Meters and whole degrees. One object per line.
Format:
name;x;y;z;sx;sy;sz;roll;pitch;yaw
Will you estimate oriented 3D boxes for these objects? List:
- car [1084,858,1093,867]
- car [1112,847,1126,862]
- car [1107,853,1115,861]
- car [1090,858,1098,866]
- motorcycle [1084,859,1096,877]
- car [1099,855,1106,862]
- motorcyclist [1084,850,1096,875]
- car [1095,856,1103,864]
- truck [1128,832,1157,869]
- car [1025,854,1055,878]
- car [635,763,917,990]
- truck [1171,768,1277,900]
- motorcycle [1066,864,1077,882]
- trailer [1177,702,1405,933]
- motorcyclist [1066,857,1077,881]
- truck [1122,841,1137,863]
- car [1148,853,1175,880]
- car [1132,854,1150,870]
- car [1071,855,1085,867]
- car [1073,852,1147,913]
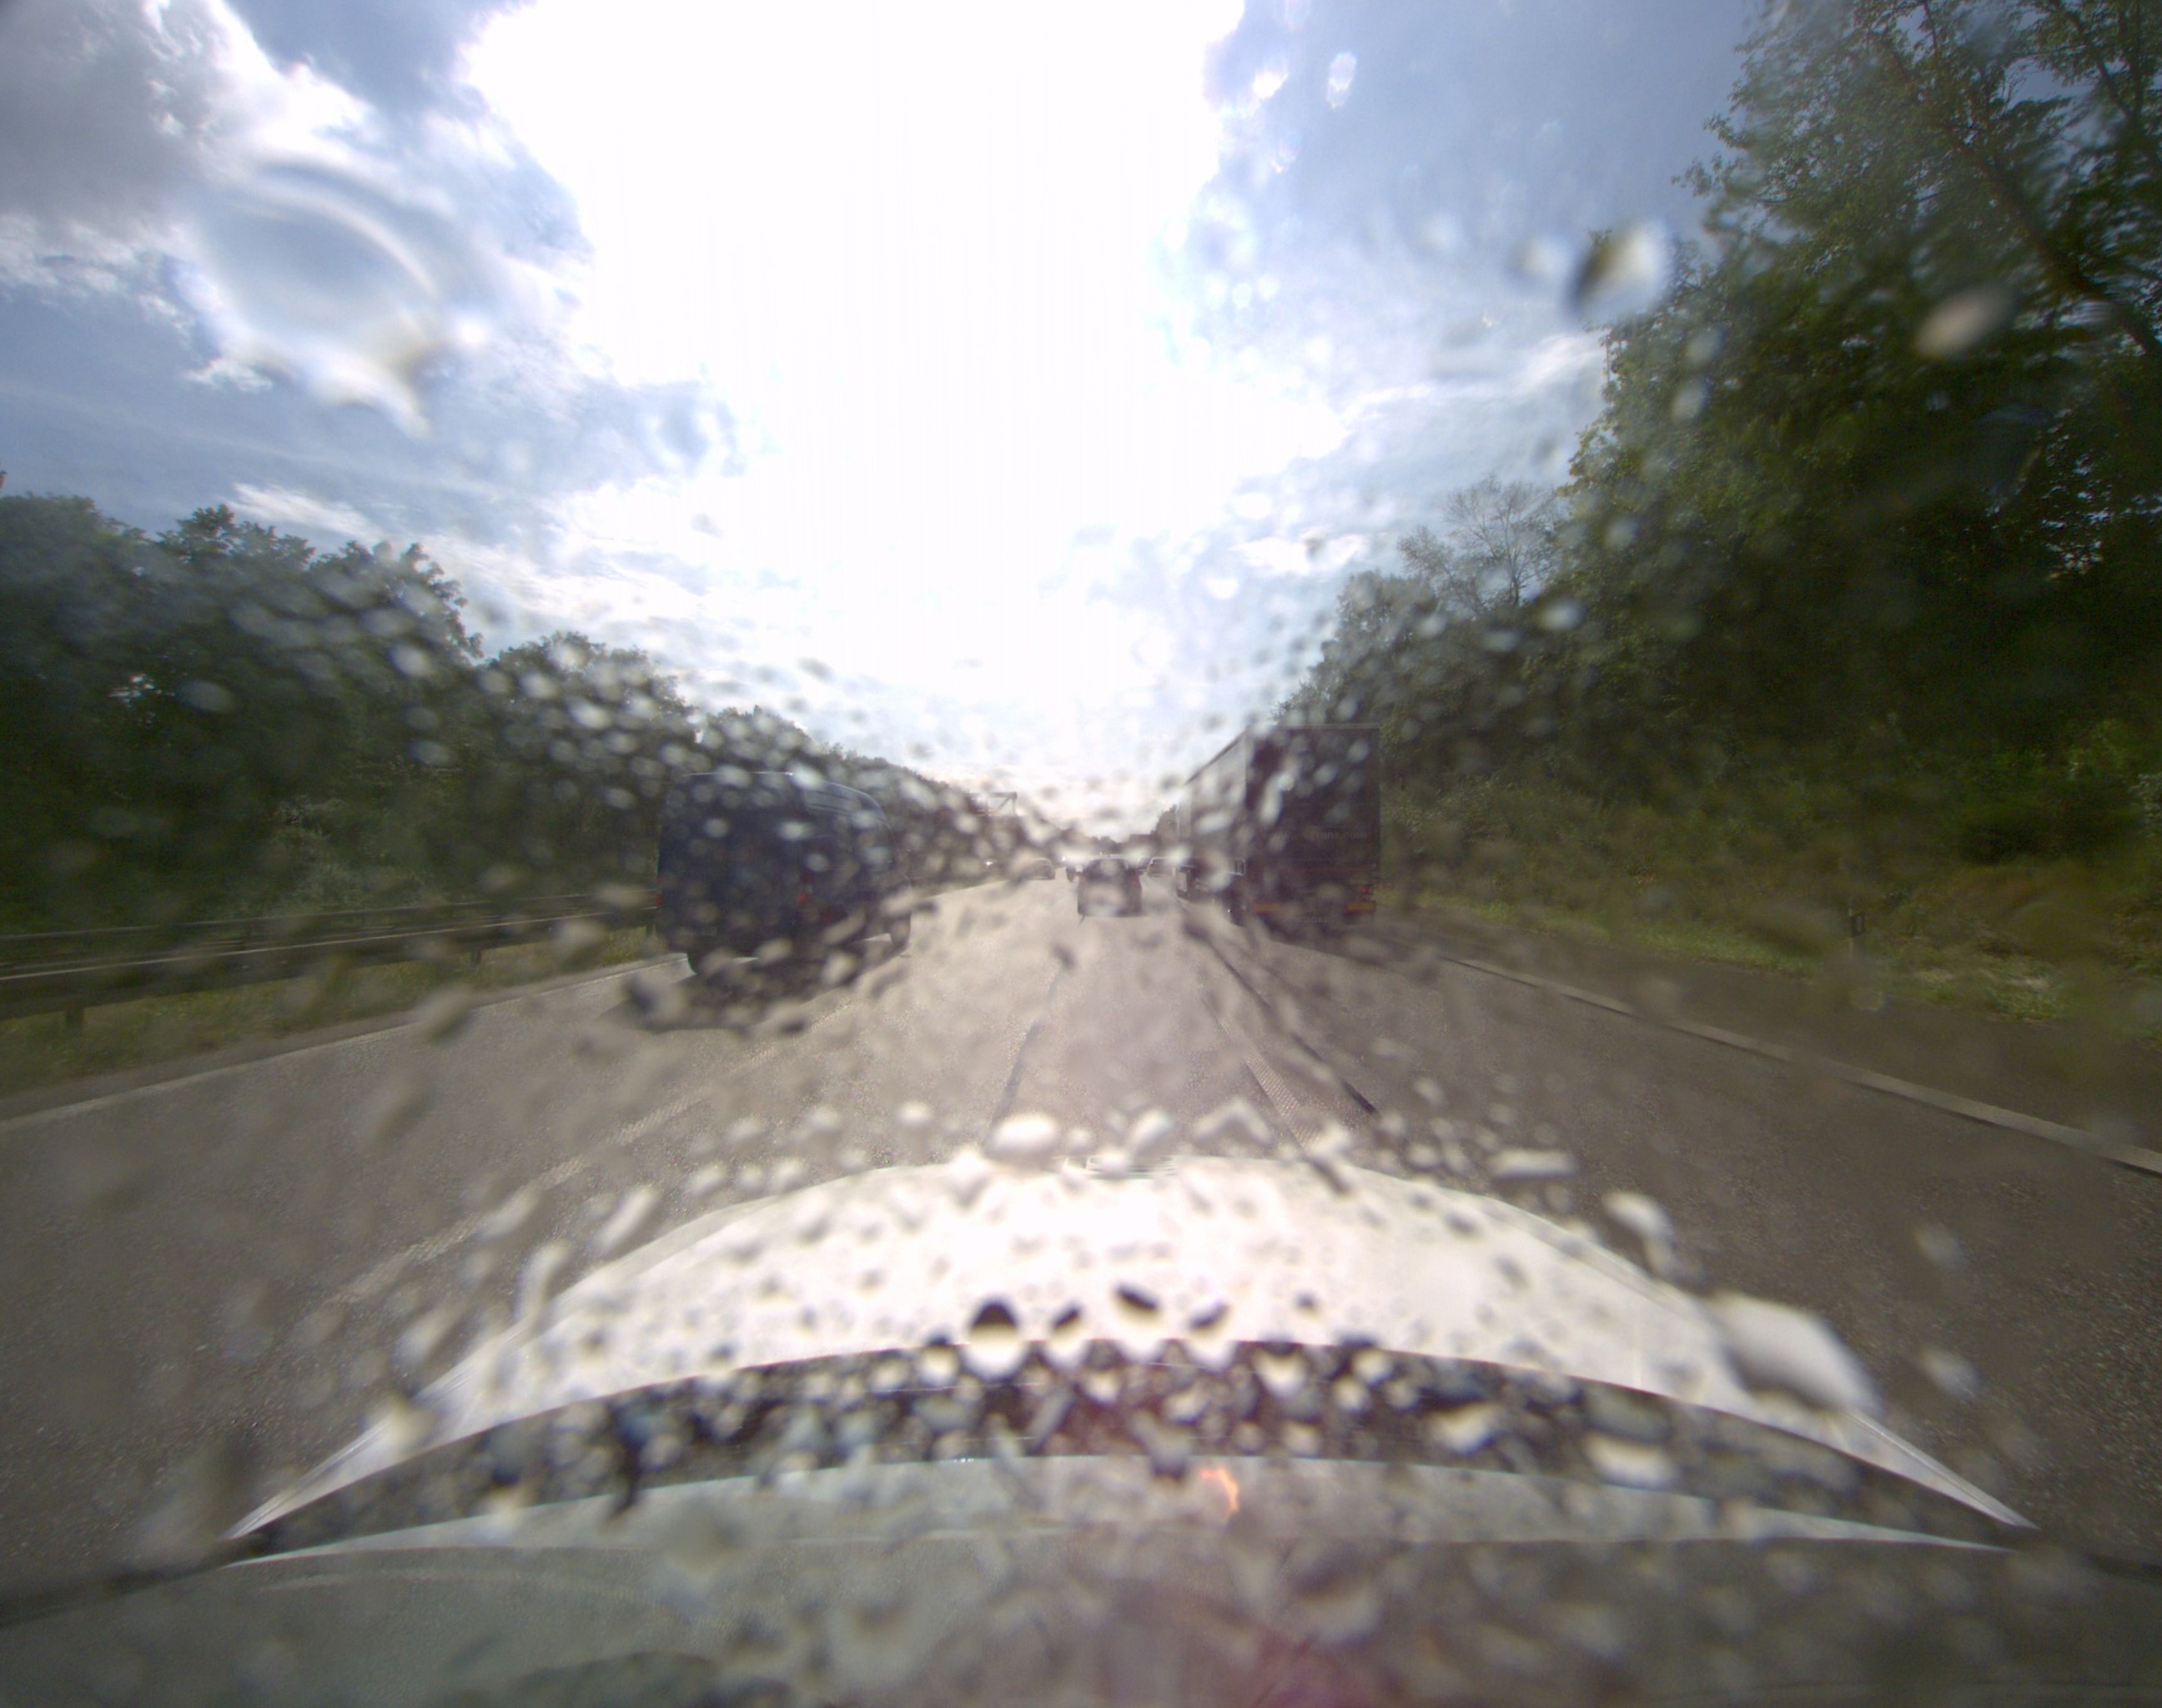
car;1.356;1.462;148.618;1.669;1.597;3.437;-1;0;1
car;5.075;0.056;109.173;1.669;1.936;3.774;-1;0;1
car;6.252;0.592;168.776;1.626;1.490;3.437;-1;0;1
car;3.117;1.885;196.367;1.986;2.014;4.001;-1;-1;1
motorcycle;0.646;0.971;58.832;0.817;1.263;2.116;0;0;-2
car;6.368;1.330;237.201;1.986;2.014;4.001;-1;-1;1
motorcyclist;0.642;0.590;58.795;0.819;1.761;1.389;0;-1;-2
car;4.667;1.652;212.260;1.986;2.014;4.001;-1;-1;1
truck;7.616;-0.406;101.536;3.190;4.404;9.436;-1;0;2
car;-2.839;0.807;57.369;1.752;1.595;4.332;-1;0;1
car;-4.185;0.275;12.513;2.008;2.648;5.778;-1;0;1
truck;5.048;-0.633;29.953;3.040;4.325;5.889;-1;-1;2
motorcycle;-0.581;1.153;49.892;0.674;1.087;1.980;0;0;-1
trailer;4.772;-0.664;22.384;3.076;4.312;14.111;-1;0;2
motorcyclist;-0.581;0.932;49.892;0.668;1.442;1.019;0;-1;-2
truck;10.688;-0.450;181.495;2.871;4.687;12.662;-1;-1;2
car;6.123;0.947;62.201;1.842;2.014;4.089;-1;-1;2
car;6.093;0.803;82.939;1.669;1.490;3.437;-1;0;1
car;-0.439;1.018;118.322;1.886;1.628;4.196;-1;0;1
car;0.813;0.754;23.567;1.908;1.565;4.315;-1;0;1
